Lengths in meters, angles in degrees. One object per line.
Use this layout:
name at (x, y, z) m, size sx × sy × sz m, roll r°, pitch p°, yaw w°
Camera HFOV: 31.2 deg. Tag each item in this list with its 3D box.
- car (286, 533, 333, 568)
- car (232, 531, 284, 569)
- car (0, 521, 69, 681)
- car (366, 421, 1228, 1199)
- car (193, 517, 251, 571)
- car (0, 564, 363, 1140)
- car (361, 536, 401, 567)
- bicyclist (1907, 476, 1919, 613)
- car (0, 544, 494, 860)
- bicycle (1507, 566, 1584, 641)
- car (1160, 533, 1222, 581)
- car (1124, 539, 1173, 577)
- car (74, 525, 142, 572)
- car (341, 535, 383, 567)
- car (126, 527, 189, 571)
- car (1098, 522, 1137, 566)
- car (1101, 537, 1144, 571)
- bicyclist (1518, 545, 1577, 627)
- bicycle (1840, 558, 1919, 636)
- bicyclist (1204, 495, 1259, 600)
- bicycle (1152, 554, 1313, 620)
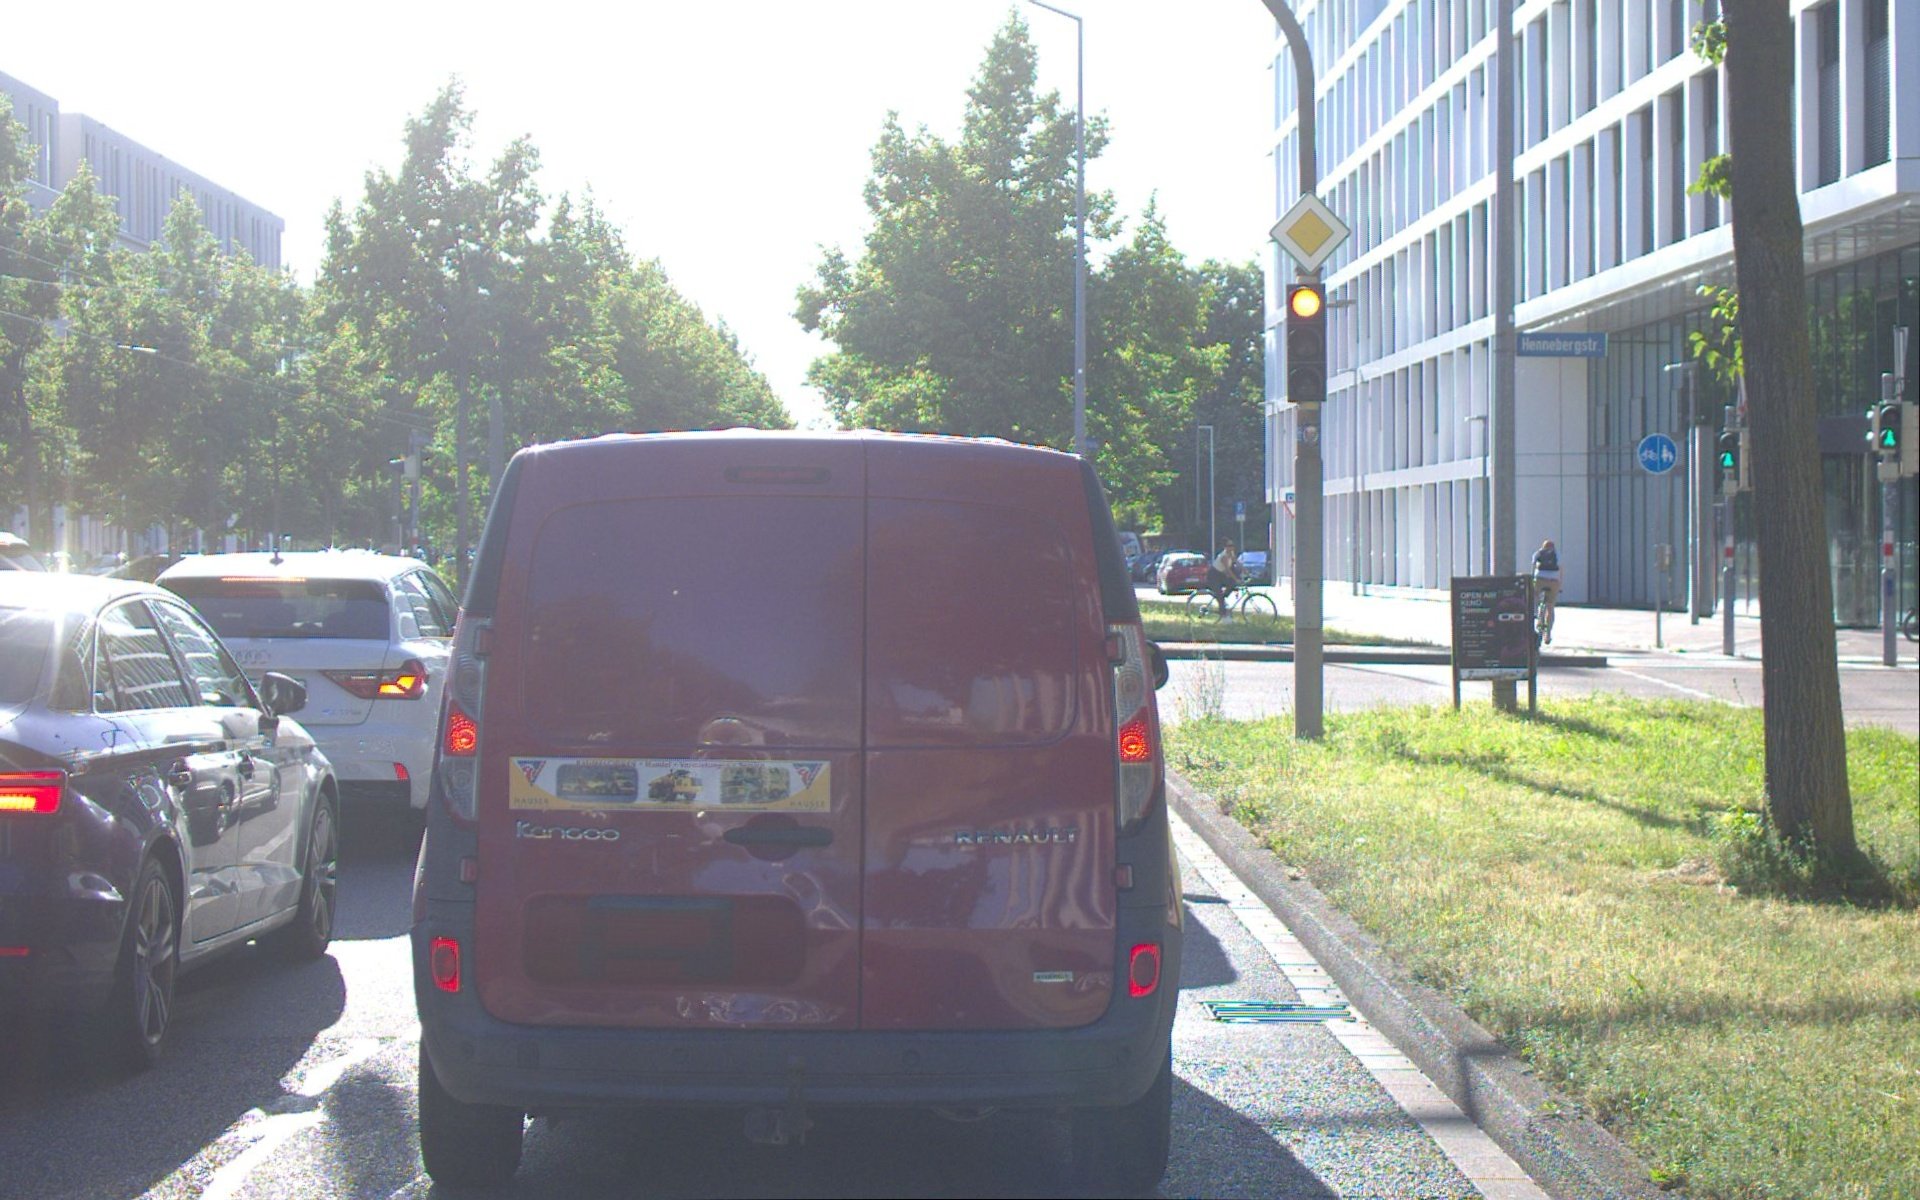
car at (-37.666, -2.867, 199.216) m, size 1.993 × 2.007 × 4.000 m, roll 0°, pitch 1°, yaw -1°
car at (-37.217, -2.655, 182.401) m, size 1.993 × 2.007 × 4.000 m, roll 0°, pitch 1°, yaw -1°
car at (-10.364, -0.018, 33.606) m, size 1.515 × 1.487 × 4.214 m, roll -1°, pitch 1°, yaw -40°
car at (-0.374, 0.470, 9.362) m, size 1.842 × 1.774 × 4.000 m, roll 0°, pitch 1°, yaw -1°
car at (-36.125, -2.746, 168.343) m, size 1.993 × 2.598 × 4.000 m, roll 0°, pitch 1°, yaw -1°
car at (-3.165, 0.617, 10.888) m, size 1.842 × 1.421 × 4.339 m, roll 0°, pitch 1°, yaw -1°
car at (-37.535, -3.135, 222.858) m, size 1.993 × 2.007 × 4.000 m, roll 0°, pitch 1°, yaw -1°
bicyclist at (15.032, -0.844, 52.636) m, size 0.941 × 2.085 × 0.817 m, roll 0°, pitch 1°, yaw 21°
car at (-3.528, 0.431, 17.592) m, size 1.803 × 1.421 × 3.901 m, roll 0°, pitch 1°, yaw -1°
bicycle at (9.150, 0.044, 53.810) m, size 0.818 × 1.111 × 2.846 m, roll 0°, pitch 1°, yaw 2°
car at (8.583, -1.607, 128.049) m, size 1.993 × 1.776 × 4.000 m, roll 0°, pitch 1°, yaw -1°
car at (8.793, -1.975, 160.607) m, size 1.993 × 1.776 × 4.000 m, roll 0°, pitch 1°, yaw -1°
car at (-36.971, -2.263, 149.315) m, size 1.993 × 2.007 × 4.000 m, roll 0°, pitch 1°, yaw -1°
car at (-37.746, -3.078, 217.234) m, size 1.993 × 2.007 × 4.000 m, roll 0°, pitch 1°, yaw -1°
car at (-36.958, -2.368, 158.415) m, size 1.993 × 2.007 × 4.000 m, roll 0°, pitch 1°, yaw -1°
car at (9.083, -3.237, 198.314) m, size 1.993 × 2.488 × 4.987 m, roll 0°, pitch 1°, yaw -1°
car at (8.496, -2.407, 179.804) m, size 1.993 × 1.776 × 4.000 m, roll 0°, pitch 1°, yaw -1°
bicyclist at (9.177, -0.227, 53.747) m, size 0.818 × 1.270 × 0.683 m, roll 0°, pitch 1°, yaw 2°
bicycle at (15.038, -0.045, 52.636) m, size 2.945 × 1.186 × 0.817 m, roll 0°, pitch 1°, yaw 21°
bicyclist at (5.013, -0.971, 63.475) m, size 0.999 × 1.940 × 0.817 m, roll 0°, pitch 1°, yaw 6°
bicycle at (5.029, -0.245, 63.471) m, size 2.942 × 1.186 × 0.817 m, roll 0°, pitch 1°, yaw 6°
